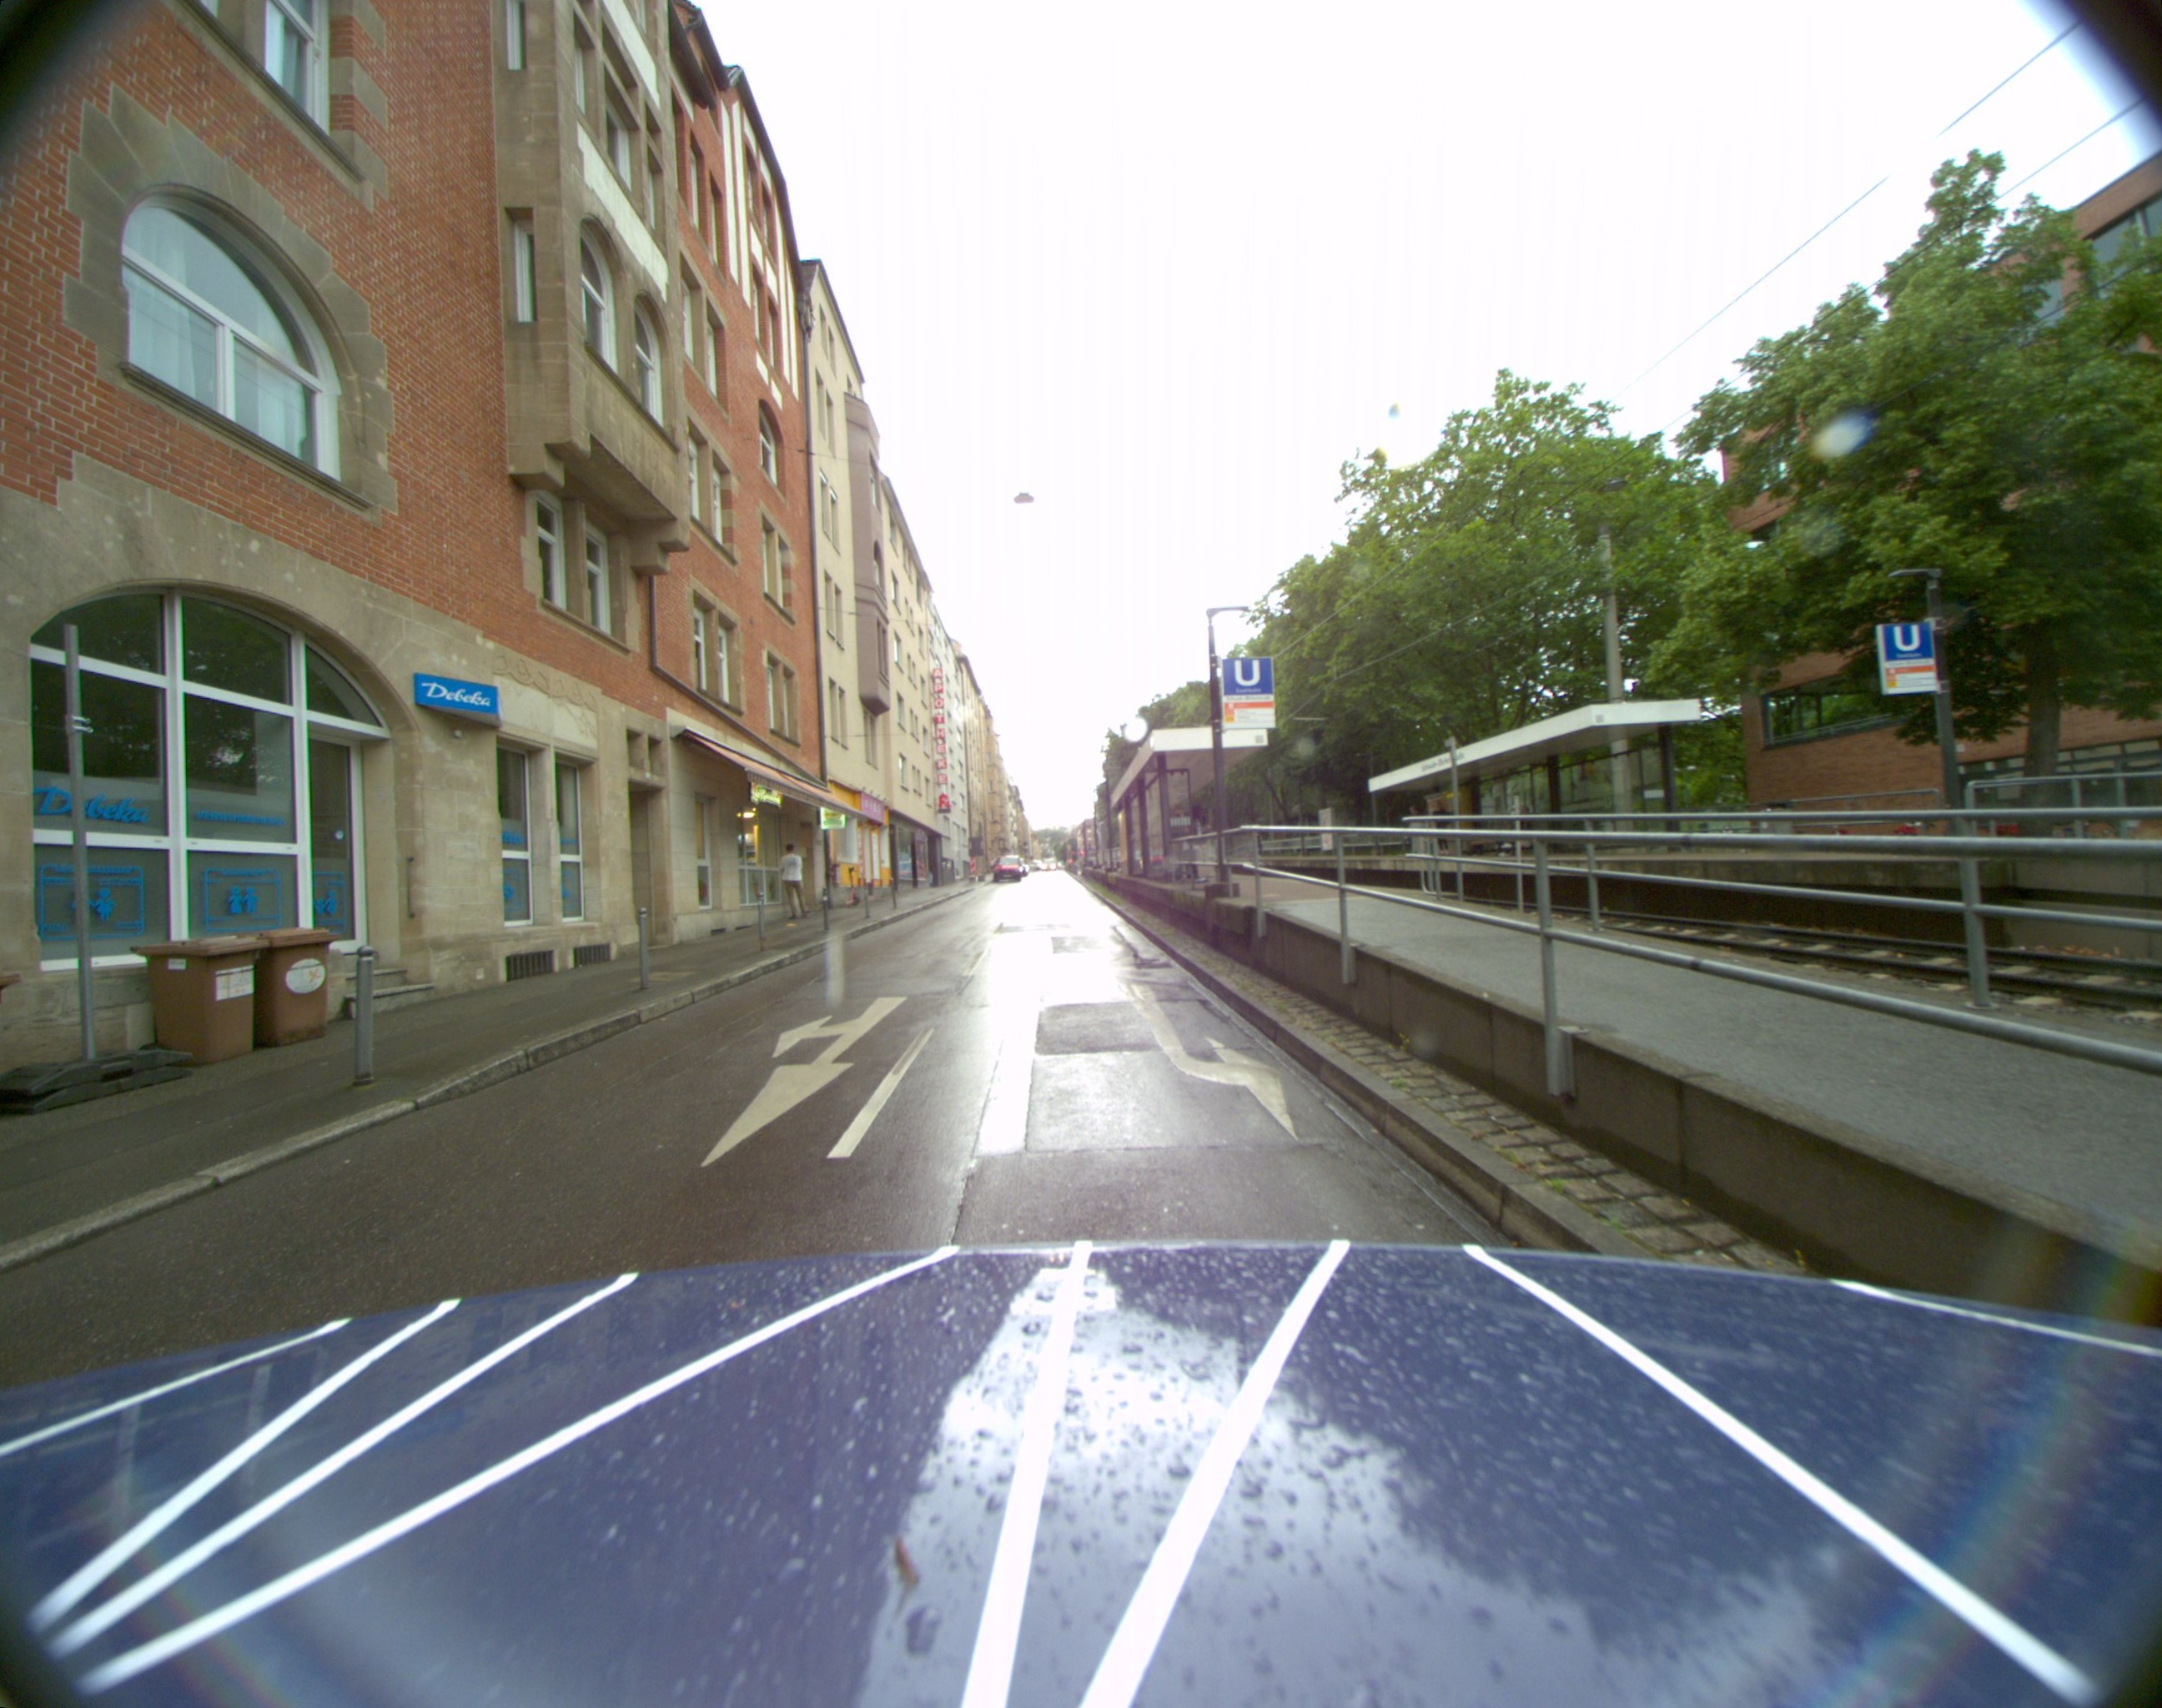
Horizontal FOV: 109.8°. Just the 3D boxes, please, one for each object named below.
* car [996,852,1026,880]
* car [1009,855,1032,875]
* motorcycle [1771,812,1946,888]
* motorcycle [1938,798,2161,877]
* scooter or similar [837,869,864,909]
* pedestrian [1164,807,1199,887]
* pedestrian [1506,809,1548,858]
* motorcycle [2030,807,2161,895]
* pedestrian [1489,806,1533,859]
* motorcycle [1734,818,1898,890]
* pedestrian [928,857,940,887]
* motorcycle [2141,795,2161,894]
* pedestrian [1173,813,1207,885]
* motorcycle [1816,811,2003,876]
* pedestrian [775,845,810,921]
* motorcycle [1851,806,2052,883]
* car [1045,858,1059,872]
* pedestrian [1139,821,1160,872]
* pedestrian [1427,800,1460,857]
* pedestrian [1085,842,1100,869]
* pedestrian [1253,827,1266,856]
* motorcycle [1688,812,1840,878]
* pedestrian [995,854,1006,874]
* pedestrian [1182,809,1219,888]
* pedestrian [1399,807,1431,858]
[{"bbox_3d":[-5.030,0.823,55.086,1.980,1.827,5.243,-3,0,-4],"label":"car"},{"bbox_3d":[-5.603,1.019,70.935,1.770,1.698,4.499,-3,0,-1],"label":"car"},{"bbox_3d":[21.199,-0.118,20.764,3.875,1.805,1.006,-3,1,-4],"label":"motorcycle"},{"bbox_3d":[21.376,-0.362,16.810,3.875,1.479,1.006,-3,1,-4],"label":"motorcycle"},{"bbox_3d":[-7.172,1.078,23.660,0.258,1.214,1.195,-3,-1,7],"label":"scooter or similar"},{"bbox_3d":[2.184,-0.152,16.593,0.615,1.678,0.587,-3,1,1],"label":"pedestrian"},{"bbox_3d":[11.738,-0.527,20.020,0.705,1.233,0.564,-4,0,-4],"label":"pedestrian"},{"bbox_3d":[21.330,-0.100,15.405,3.067,1.618,1.006,-3,1,-4],"label":"motorcycle"},{"bbox_3d":[11.666,-0.571,20.640,0.779,1.354,0.564,-4,0,-4],"label":"pedestrian"},{"bbox_3d":[21.159,-0.003,21.913,3.875,1.805,1.006,-3,1,-4],"label":"motorcycle"},{"bbox_3d":[-8.341,1.016,43.094,0.483,1.635,0.330,-4,1,-35],"label":"pedestrian"},{"bbox_3d":[21.159,-0.251,13.634,3.045,1.805,0.993,-3,1,-4],"label":"motorcycle"},{"bbox_3d":[2.464,-0.115,17.218,0.615,1.572,0.507,-3,1,1],"label":"pedestrian"},{"bbox_3d":[21.263,-0.266,19.535,3.875,1.399,1.006,-3,1,-4],"label":"motorcycle"},{"bbox_3d":[-7.123,0.702,18.776,0.562,1.820,0.580,2,2,36],"label":"pedestrian"},{"bbox_3d":[20.945,-0.233,18.324,3.875,1.596,1.006,-3,1,-4],"label":"motorcycle"},{"bbox_3d":[-3.687,1.374,95.339,1.621,1.592,4.066,-2,-1,-3],"label":"car"},{"bbox_3d":[2.214,-0.251,24.505,0.496,1.595,0.637,-2,1,14],"label":"pedestrian"},{"bbox_3d":[11.232,-0.769,23.568,0.564,1.705,0.705,-4,0,-4],"label":"pedestrian"},{"bbox_3d":[0.774,0.105,52.418,0.861,1.788,0.787,-3,0,-3],"label":"pedestrian"},{"bbox_3d":[10.388,-0.733,44.294,0.563,1.631,0.689,-4,0,4],"label":"pedestrian"},{"bbox_3d":[20.976,-0.277,23.374,3.875,1.763,1.006,-3,1,-4],"label":"motorcycle"},{"bbox_3d":[-7.491,0.904,70.551,0.853,1.747,0.837,-4,0,-2],"label":"pedestrian"},{"bbox_3d":[2.462,-0.108,15.680,0.615,1.572,0.507,-3,1,1],"label":"pedestrian"},{"bbox_3d":[11.030,-0.698,25.085,0.688,1.631,0.564,-4,0,-4],"label":"pedestrian"}]
